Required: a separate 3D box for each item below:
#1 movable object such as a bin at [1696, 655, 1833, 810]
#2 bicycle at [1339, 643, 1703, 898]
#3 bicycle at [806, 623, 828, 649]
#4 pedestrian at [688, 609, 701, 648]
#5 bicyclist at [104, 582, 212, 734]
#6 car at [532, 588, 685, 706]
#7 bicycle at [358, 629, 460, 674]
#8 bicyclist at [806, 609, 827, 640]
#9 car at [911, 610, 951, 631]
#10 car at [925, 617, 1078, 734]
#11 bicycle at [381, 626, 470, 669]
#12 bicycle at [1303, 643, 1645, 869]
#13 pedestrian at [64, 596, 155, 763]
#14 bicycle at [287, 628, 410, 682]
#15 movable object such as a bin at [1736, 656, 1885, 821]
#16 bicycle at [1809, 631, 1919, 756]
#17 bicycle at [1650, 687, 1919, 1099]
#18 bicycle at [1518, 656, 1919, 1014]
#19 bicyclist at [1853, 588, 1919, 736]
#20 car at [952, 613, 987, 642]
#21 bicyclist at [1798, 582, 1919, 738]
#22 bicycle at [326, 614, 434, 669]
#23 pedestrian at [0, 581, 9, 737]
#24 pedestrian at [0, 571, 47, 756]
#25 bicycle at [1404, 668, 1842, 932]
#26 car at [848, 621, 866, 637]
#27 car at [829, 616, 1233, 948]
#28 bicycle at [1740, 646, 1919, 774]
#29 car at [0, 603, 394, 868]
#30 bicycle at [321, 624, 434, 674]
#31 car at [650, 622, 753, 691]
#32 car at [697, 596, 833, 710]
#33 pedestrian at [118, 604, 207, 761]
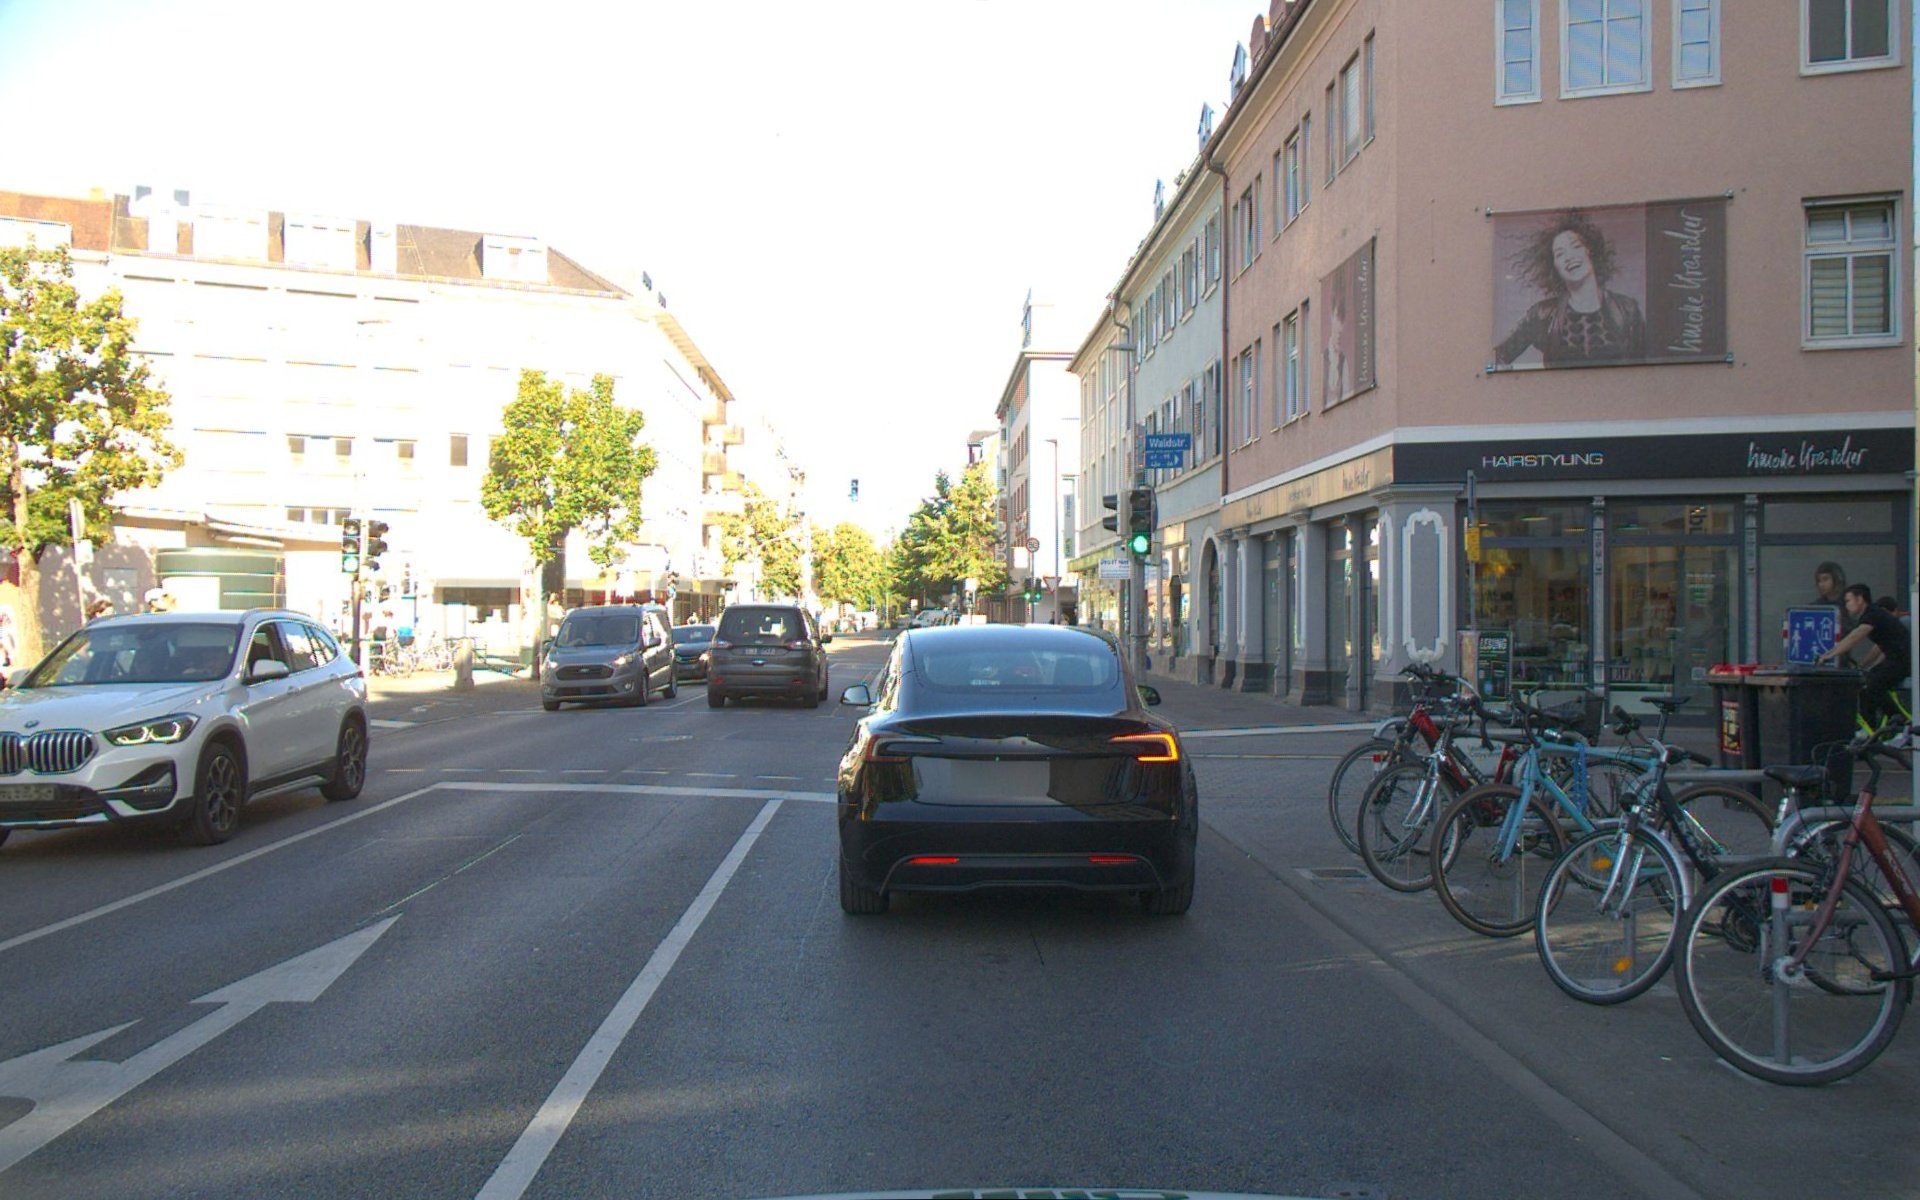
[{"bbox_3d":[6.046,0.984,12.460,0.718,1.111,0.627,1,-1,1],"label":"movable object such as a bin"},{"bbox_3d":[3.019,0.903,9.038,1.709,1.289,0.781,-1,-1,2],"label":"bicycle"},{"bbox_3d":[-7.844,1.973,90.717,1.089,1.368,3.997,1,0,-4],"label":"bicycle"},{"bbox_3d":[-14.008,1.494,87.312,0.563,2.049,0.827,2,-1,-5],"label":"pedestrian"},{"bbox_3d":[-10.172,0.719,20.989,0.931,1.870,0.788,1,-1,24],"label":"bicyclist"},{"bbox_3d":[-6.304,0.803,30.194,1.797,1.877,4.672,-3,0,-1],"label":"car"},{"bbox_3d":[-14.938,1.404,44.873,2.485,1.176,0.841,1,-1,-6],"label":"bicycle"},{"bbox_3d":[-7.855,1.347,90.817,1.104,1.657,0.964,1,-1,-4],"label":"bicyclist"},{"bbox_3d":[-2.863,1.991,162.841,3.907,2.049,1.999,1,-1,-2],"label":"car"},{"bbox_3d":[0.512,1.029,24.162,1.953,1.538,4.173,1,-1,-2],"label":"car"},{"bbox_3d":[-15.266,1.354,47.295,2.279,1.176,0.841,1,-1,-6],"label":"bicycle"},{"bbox_3d":[3.081,0.925,10.069,1.822,1.280,0.833,-1,-1,4],"label":"bicycle"},{"bbox_3d":[-9.160,0.838,17.815,0.537,1.758,0.673,0,-1,32],"label":"pedestrian"},{"bbox_3d":[-13.916,1.242,37.679,2.455,1.176,0.842,1,-1,-2],"label":"bicycle"},{"bbox_3d":[6.069,0.975,11.823,0.737,1.111,0.627,1,-1,1],"label":"movable object such as a bin"},{"bbox_3d":[9.704,0.946,16.884,1.756,1.244,0.681,0,-1,18],"label":"bicycle"},{"bbox_3d":[3.324,0.911,5.381,1.846,1.214,0.692,-1,0,4],"label":"bicycle"},{"bbox_3d":[3.175,0.887,6.511,1.686,1.290,0.791,-1,-1,4],"label":"bicycle"},{"bbox_3d":[9.730,0.627,16.904,0.926,1.475,0.806,0,-1,19],"label":"bicyclist"},{"bbox_3d":[0.550,1.580,95.993,1.953,1.657,3.999,0,-1,-1],"label":"car"},{"bbox_3d":[8.573,0.553,15.784,0.903,1.439,0.806,0,-1,18],"label":"bicyclist"},{"bbox_3d":[-14.751,1.057,42.123,2.429,1.347,0.921,1,-1,-7],"label":"bicycle"},{"bbox_3d":[-11.938,0.700,19.697,0.828,1.859,0.740,0,-1,33],"label":"pedestrian"},{"bbox_3d":[-10.613,0.673,18.042,0.811,1.989,0.710,1,-1,11],"label":"pedestrian"},{"bbox_3d":[3.089,0.923,7.860,1.760,1.144,0.782,-1,-1,4],"label":"bicycle"},{"bbox_3d":[-11.328,3.177,182.185,1.954,1.666,3.997,0,-1,-4],"label":"car"},{"bbox_3d":[0.291,0.849,9.442,1.810,1.480,3.999,0,-1,-1],"label":"car"},{"bbox_3d":[8.565,1.026,15.787,1.926,1.169,0.791,-1,-1,18],"label":"bicycle"},{"bbox_3d":[-5.849,0.873,12.400,1.771,1.582,4.308,-3,0,-2],"label":"car"},{"bbox_3d":[-14.140,1.187,40.200,2.412,1.176,0.842,1,-1,-2],"label":"bicycle"},{"bbox_3d":[-6.219,1.321,40.293,1.954,1.434,4.670,-3,0,-3],"label":"car"},{"bbox_3d":[-3.278,0.853,28.621,1.953,1.803,4.726,0,0,-2],"label":"car"},{"bbox_3d":[-8.807,0.890,18.274,0.671,1.692,0.619,0,-1,35],"label":"pedestrian"}]
